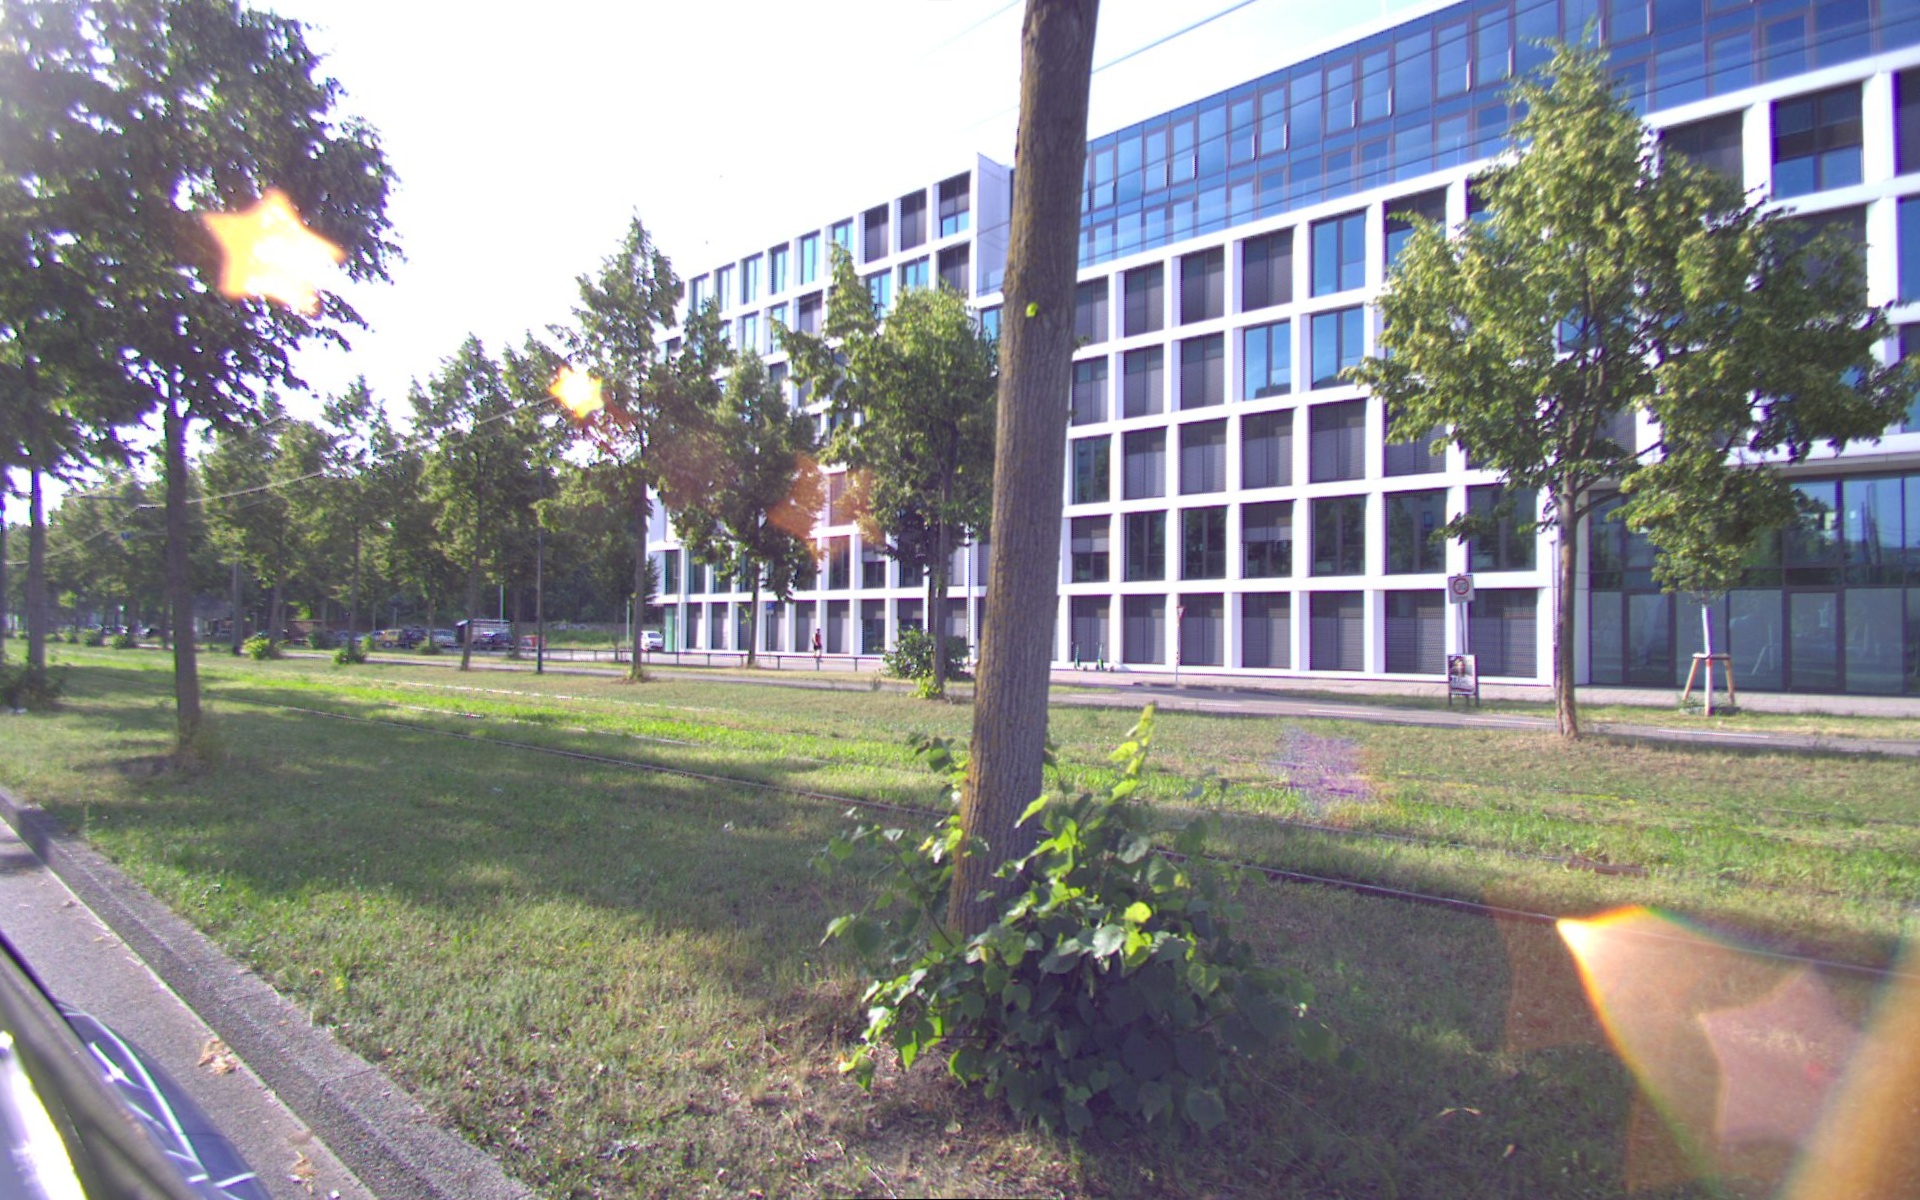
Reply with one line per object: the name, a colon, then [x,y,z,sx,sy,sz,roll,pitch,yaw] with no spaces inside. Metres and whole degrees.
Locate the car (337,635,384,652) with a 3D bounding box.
car: [-59.265,4.321,100.062,3.810,1.497,1.746,-1,0,-42]

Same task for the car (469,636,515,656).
car: [-35.852,3.517,77.510,3.756,1.404,1.663,-1,0,38]

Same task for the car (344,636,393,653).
car: [-54.967,4.147,94.074,1.810,1.439,3.607,-1,0,43]

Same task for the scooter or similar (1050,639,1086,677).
scooter or similar: [4.573,2.422,42.718,0.415,1.488,1.907,-1,0,45]

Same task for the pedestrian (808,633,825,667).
pedestrian: [-7.558,2.622,53.236,0.691,1.741,0.561,-1,0,41]

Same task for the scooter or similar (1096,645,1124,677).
scooter or similar: [6.220,2.508,41.903,0.331,1.235,1.302,0,0,-36]

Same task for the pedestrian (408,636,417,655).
pedestrian: [-44.635,3.705,82.497,0.568,1.491,0.516,-1,0,40]

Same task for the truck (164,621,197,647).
truck: [-113.094,4.846,146.790,2.855,3.542,7.950,0,0,-44]

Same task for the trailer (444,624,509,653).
trailer: [-38.426,3.039,80.525,1.758,2.069,4.315,-1,0,44]

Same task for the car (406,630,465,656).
car: [-43.279,3.496,83.577,1.757,1.962,3.950,-1,0,41]

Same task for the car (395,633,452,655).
car: [-45.406,3.729,85.667,1.757,1.655,3.950,-1,0,41]

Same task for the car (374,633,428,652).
car: [-50.424,3.812,91.304,1.856,1.572,3.943,-1,0,43]

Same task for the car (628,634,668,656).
car: [-25.442,3.622,82.482,1.824,1.608,4.008,0,0,-38]

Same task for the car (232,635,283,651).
car: [-67.468,4.135,97.181,3.988,1.446,1.683,-1,0,8]

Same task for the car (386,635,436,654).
car: [-47.860,3.863,88.276,1.725,1.436,3.530,-1,0,41]

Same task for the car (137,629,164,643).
car: [-94.768,4.205,118.413,4.474,1.442,1.811,-1,0,42]
